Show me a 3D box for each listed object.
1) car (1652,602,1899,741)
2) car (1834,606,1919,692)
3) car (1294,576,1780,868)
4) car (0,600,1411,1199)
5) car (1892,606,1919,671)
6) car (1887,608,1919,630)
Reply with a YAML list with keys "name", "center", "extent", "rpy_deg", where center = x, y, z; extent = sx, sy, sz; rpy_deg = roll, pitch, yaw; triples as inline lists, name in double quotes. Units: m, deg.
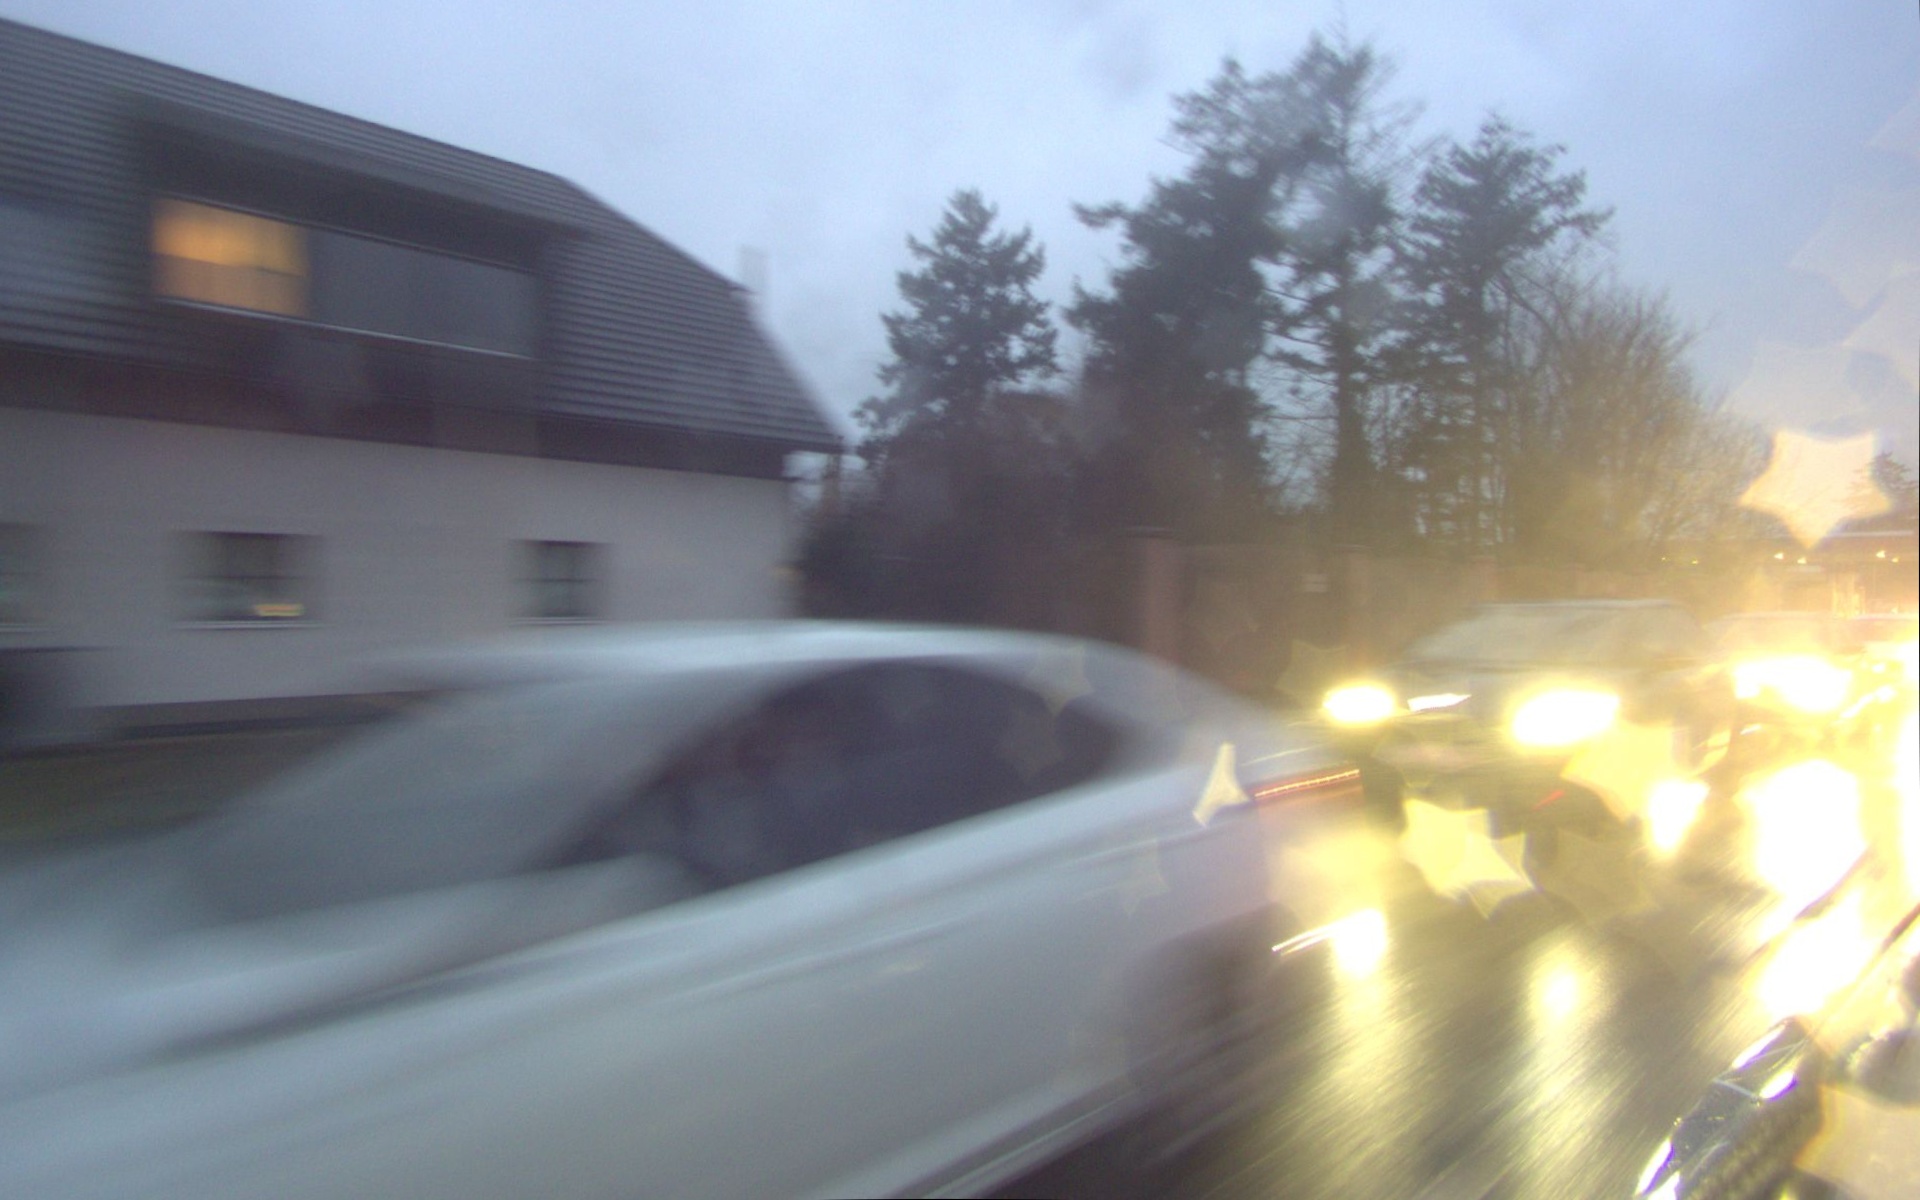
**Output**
- name: "car"
  center: [10.465, 0.770, 12.882]
  extent: [4.196, 1.490, 1.705]
  rpy_deg: [0, -1, -40]
- name: "car"
  center: [16.815, 0.796, 17.747]
  extent: [4.196, 1.353, 1.656]
  rpy_deg: [0, 0, -40]
- name: "car"
  center: [4.558, 0.664, 7.678]
  extent: [4.425, 1.588, 1.839]
  rpy_deg: [0, 0, -41]
- name: "car"
  center: [-0.675, 0.736, 2.566]
  extent: [4.305, 1.457, 1.665]
  rpy_deg: [0, 0, -41]
- name: "car"
  center: [22.996, 0.851, 23.357]
  extent: [4.684, 1.384, 1.644]
  rpy_deg: [0, 0, -40]
- name: "car"
  center: [65.869, 1.303, 70.422]
  extent: [4.095, 1.414, 1.575]
  rpy_deg: [1, 1, -41]
